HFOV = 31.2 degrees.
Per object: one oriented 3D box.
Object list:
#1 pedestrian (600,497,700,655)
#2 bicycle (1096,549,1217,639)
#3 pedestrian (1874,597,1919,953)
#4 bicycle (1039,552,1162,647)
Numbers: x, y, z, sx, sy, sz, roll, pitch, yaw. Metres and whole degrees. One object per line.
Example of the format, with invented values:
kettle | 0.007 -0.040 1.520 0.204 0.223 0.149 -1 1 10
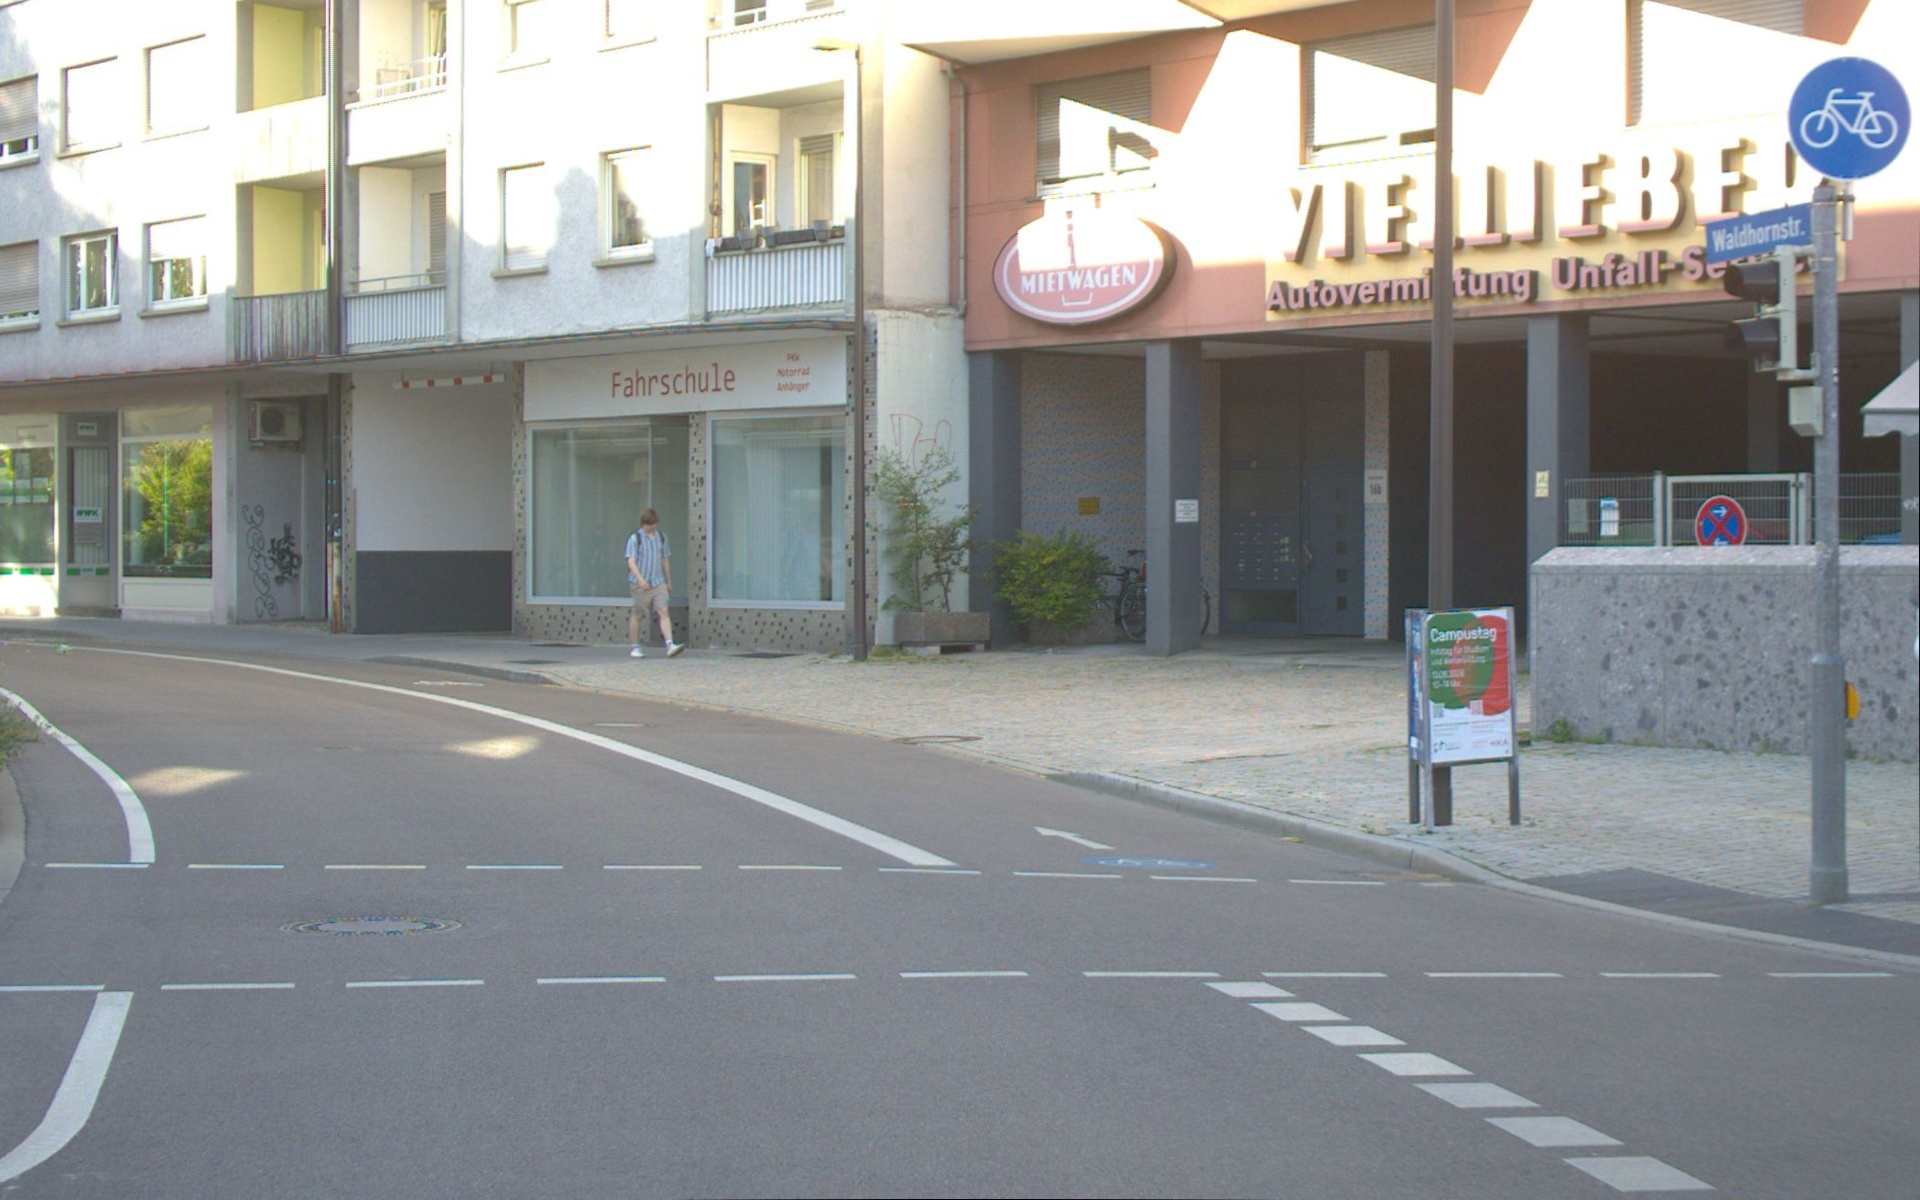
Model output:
pedestrian | -3.763 -0.299 41.717 0.731 1.848 0.948 -5 5 -40
bicycle | 2.375 -0.083 41.795 0.494 1.035 1.638 -1 2 -39
pedestrian | 4.532 0.788 15.476 0.539 1.578 0.557 -1 3 -37
bicycle | 1.678 -0.018 41.227 0.494 1.035 1.638 -1 4 -39
